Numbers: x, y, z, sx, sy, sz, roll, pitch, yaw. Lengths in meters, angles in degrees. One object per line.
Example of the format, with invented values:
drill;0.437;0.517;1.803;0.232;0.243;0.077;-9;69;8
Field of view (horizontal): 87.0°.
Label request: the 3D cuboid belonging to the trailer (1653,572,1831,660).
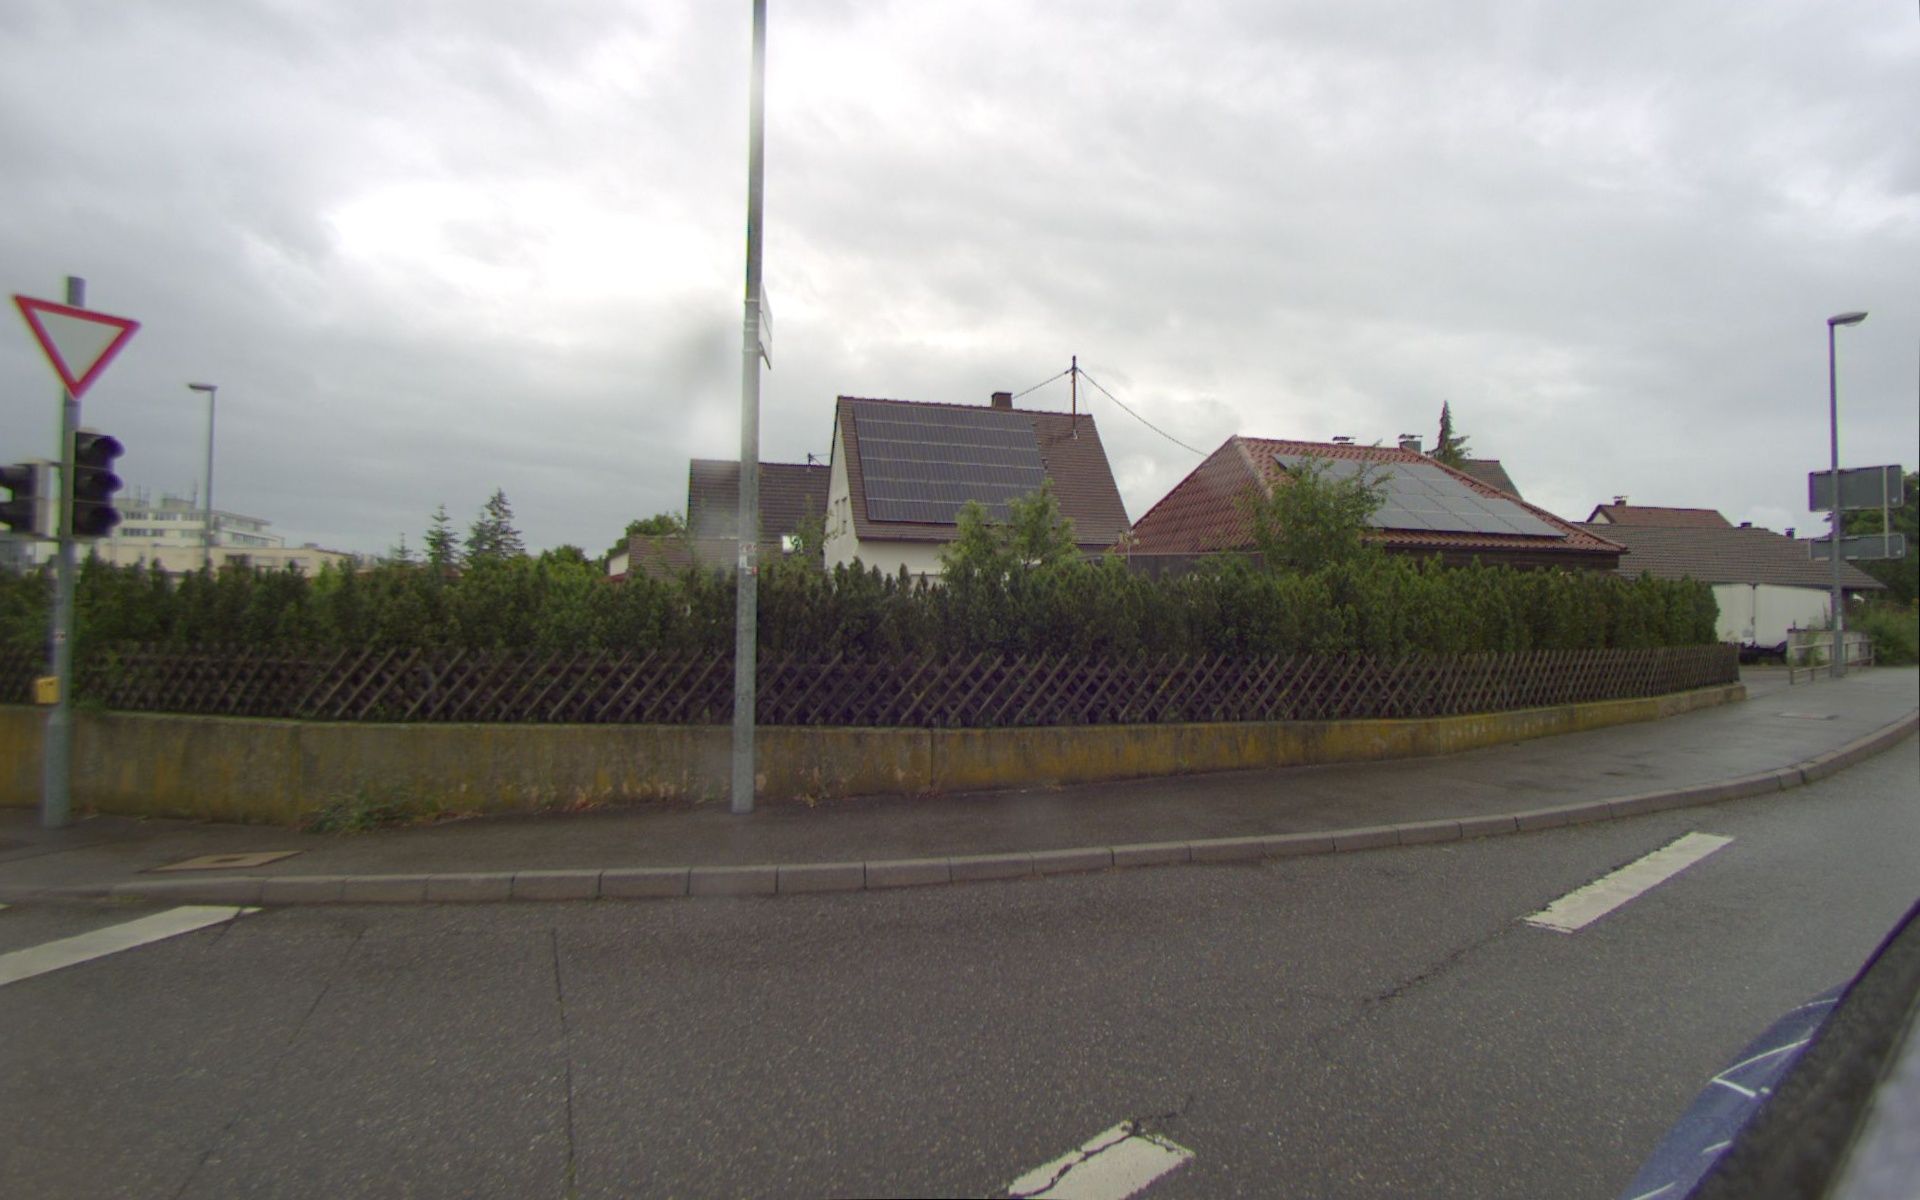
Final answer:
trailer;23.691;0.497;30.701;4.605;2.550;1.652;0;-2;-13
